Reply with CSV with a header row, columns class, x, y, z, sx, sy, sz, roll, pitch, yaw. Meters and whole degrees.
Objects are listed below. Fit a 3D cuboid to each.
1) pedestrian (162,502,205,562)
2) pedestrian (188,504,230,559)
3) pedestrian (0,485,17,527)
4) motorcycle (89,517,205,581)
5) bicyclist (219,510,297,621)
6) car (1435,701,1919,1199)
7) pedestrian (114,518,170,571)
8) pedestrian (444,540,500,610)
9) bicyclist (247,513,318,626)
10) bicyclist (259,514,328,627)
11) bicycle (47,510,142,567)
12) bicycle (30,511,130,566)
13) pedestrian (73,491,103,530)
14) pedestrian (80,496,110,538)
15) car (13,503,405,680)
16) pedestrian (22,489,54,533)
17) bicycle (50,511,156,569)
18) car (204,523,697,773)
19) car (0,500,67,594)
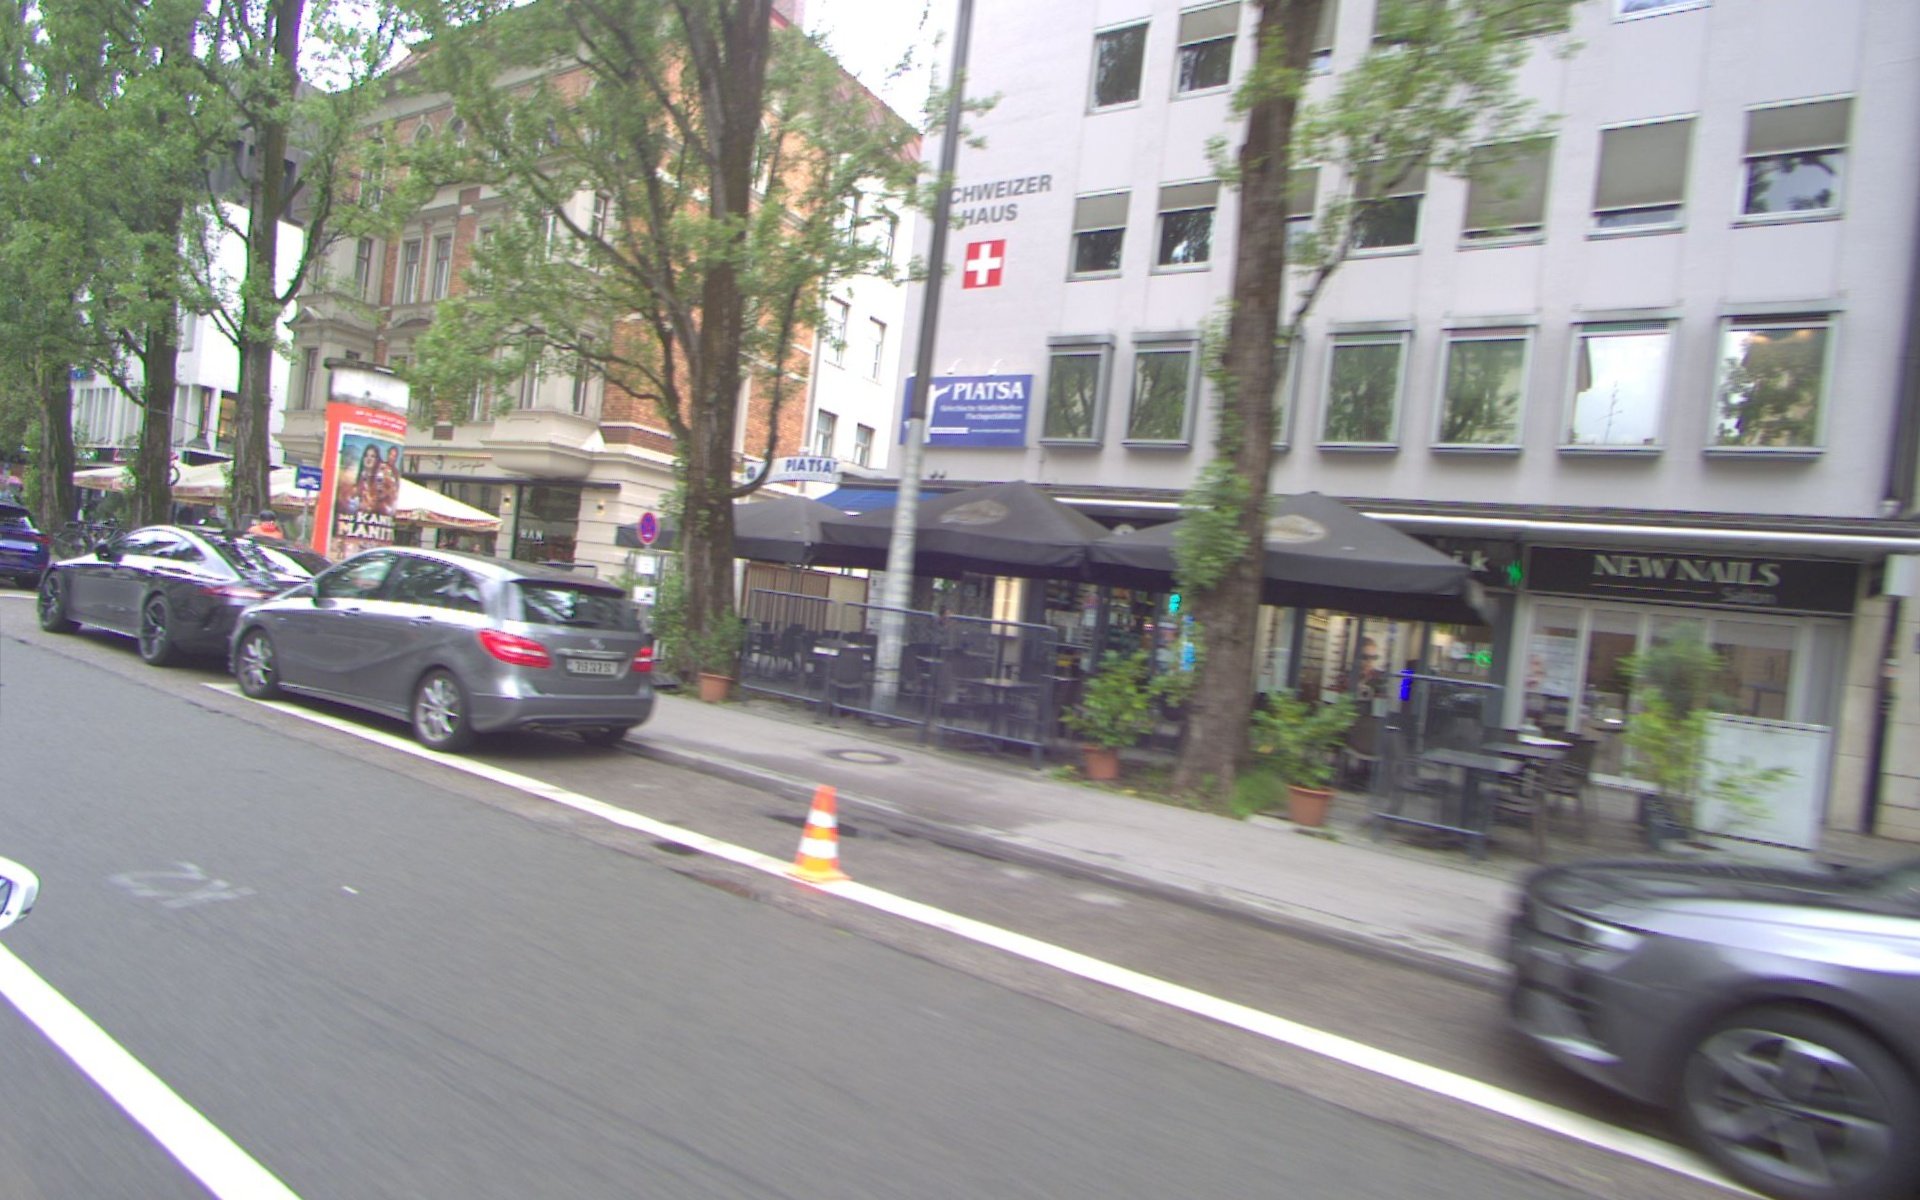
class,x,y,z,sx,sy,sz,roll,pitch,yaw
pedestrian,-25.537,-2.241,33.075,0.916,1.825,0.729,7,1,32
pedestrian,-25.187,-2.282,33.722,0.916,1.698,0.729,7,1,32
pedestrian,-43.295,-4.267,45.417,0.845,1.771,0.728,7,-1,32
motorcycle,-18.261,-1.133,22.655,0.683,1.194,1.834,7,0,26
bicyclist,-10.869,-0.527,15.586,0.740,1.608,0.622,7,1,31
car,4.077,1.402,3.346,4.280,1.458,1.724,7,-2,30
pedestrian,-22.412,-1.512,27.568,0.719,1.283,0.929,7,1,31
pedestrian,-12.334,-0.625,25.448,0.974,1.629,0.729,7,1,32
bicyclist,-10.216,-0.455,15.184,0.473,1.608,0.622,7,1,31
bicyclist,-9.938,-0.425,15.012,0.385,1.608,0.622,7,1,31
bicycle,-21.973,-1.544,25.569,0.413,1.207,1.715,7,0,27
bicycle,-22.420,-1.557,25.667,0.364,1.153,1.834,7,0,26
pedestrian,-39.624,-4.069,45.708,0.754,1.645,0.735,6,-1,37
pedestrian,-36.861,-3.540,42.854,0.692,1.647,0.654,7,1,29
car,-8.708,-0.129,11.560,4.724,1.450,1.881,7,0,31
pedestrian,-36.923,-3.574,40.290,0.692,1.647,0.654,7,1,29
bicycle,-21.531,-1.495,25.311,0.566,1.207,1.874,7,0,27
car,-4.617,0.328,9.012,4.159,1.525,1.820,7,0,29
car,-17.285,-1.090,17.082,4.388,1.422,1.753,7,0,29
